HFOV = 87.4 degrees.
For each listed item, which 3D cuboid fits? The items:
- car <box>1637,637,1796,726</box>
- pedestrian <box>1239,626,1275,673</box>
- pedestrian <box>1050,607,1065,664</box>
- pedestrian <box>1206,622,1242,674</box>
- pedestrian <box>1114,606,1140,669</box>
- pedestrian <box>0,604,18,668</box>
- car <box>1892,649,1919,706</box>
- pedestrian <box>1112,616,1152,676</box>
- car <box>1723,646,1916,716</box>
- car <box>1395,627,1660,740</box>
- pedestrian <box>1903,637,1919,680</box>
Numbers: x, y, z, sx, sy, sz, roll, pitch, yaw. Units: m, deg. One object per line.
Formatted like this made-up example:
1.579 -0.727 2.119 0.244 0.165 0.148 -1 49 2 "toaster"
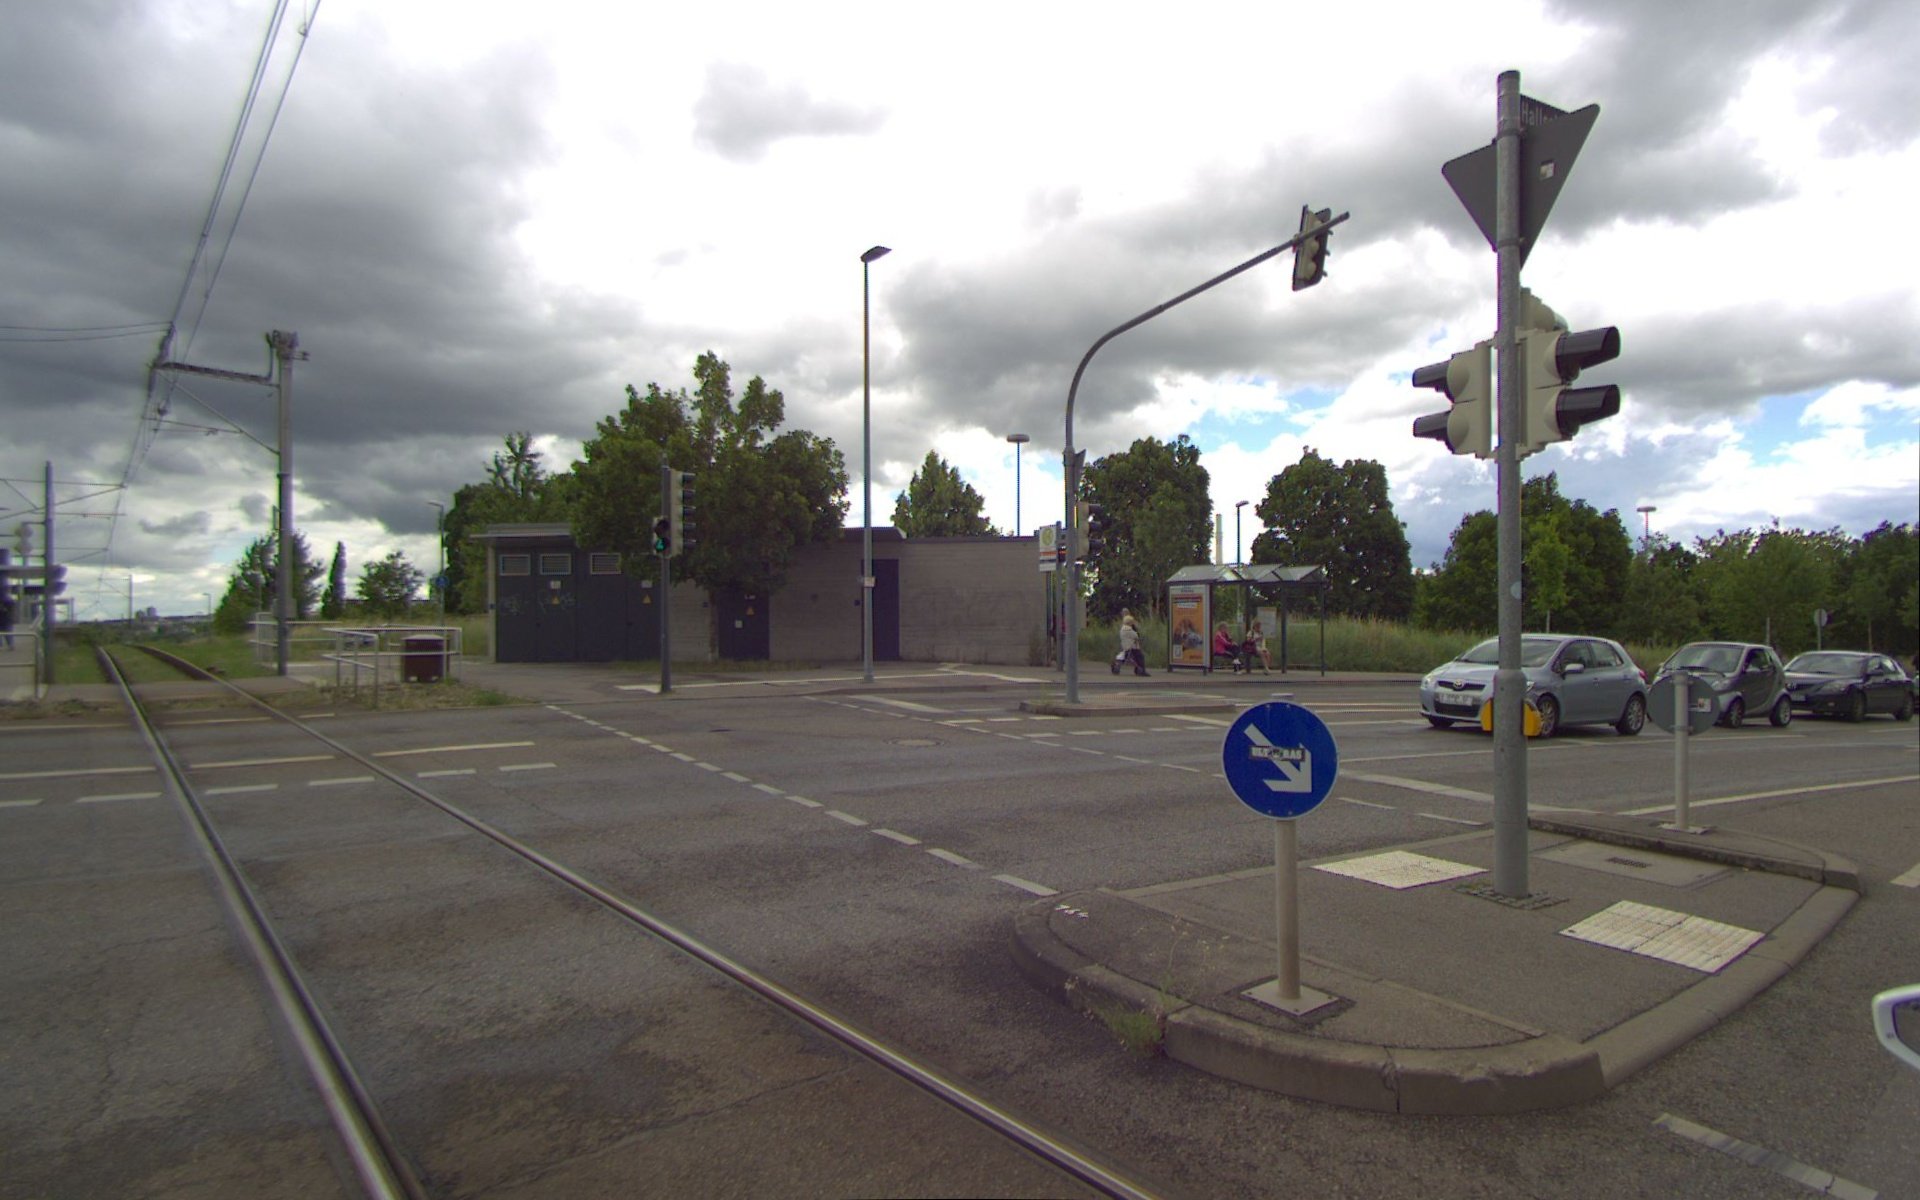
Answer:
14.301 1.473 18.983 2.742 1.547 1.422 1 -2 -30 "car"
8.032 1.319 27.142 0.545 1.243 0.766 1 -1 -35 "pedestrian"
2.895 1.049 29.741 0.420 1.692 0.551 0 -1 9 "pedestrian"
6.964 1.246 26.533 0.545 1.348 0.766 1 -1 -35 "pedestrian"
4.570 1.024 27.568 0.626 1.692 0.551 0 -1 0 "pedestrian"
-24.498 0.919 25.694 0.560 1.593 0.539 0 1 -41 "pedestrian"
24.952 1.901 24.779 4.009 1.349 1.633 1 -2 -28 "car"
4.067 1.074 23.761 0.766 1.381 0.545 1 -1 -35 "pedestrian"
18.734 1.694 21.862 4.326 1.349 1.792 1 -2 -29 "car"
8.902 1.205 15.677 4.172 1.556 1.818 1 -2 -31 "car"
42.315 2.579 44.410 0.669 1.859 0.718 1 -2 -26 "pedestrian"
